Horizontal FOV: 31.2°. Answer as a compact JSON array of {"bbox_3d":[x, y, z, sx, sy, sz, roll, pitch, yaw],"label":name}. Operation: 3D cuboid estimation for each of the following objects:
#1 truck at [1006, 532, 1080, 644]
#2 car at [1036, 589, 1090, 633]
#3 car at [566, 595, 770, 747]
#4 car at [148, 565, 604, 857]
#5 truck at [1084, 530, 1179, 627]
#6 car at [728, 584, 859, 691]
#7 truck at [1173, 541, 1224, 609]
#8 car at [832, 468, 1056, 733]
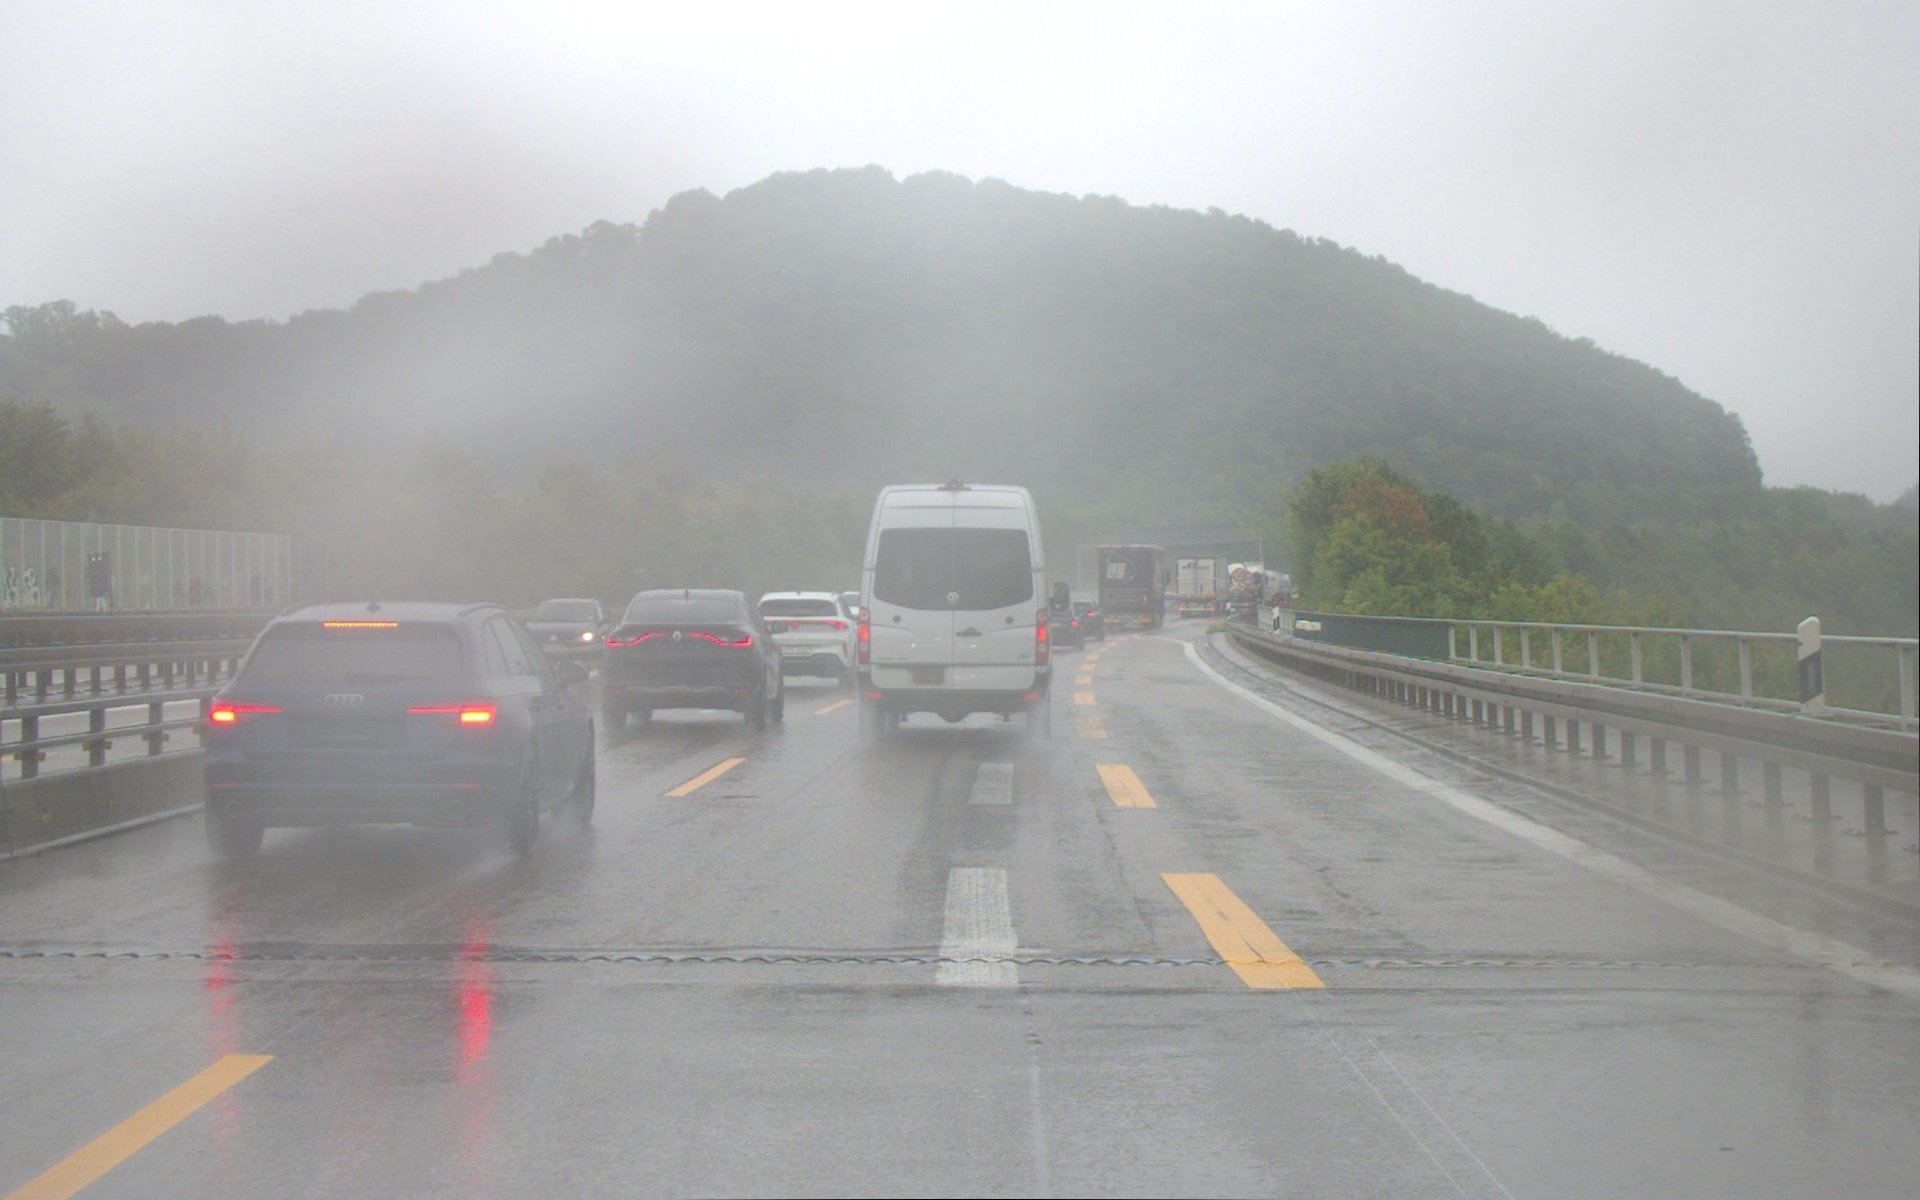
[{"bbox_3d":[2.463,-0.312,100.439,1.993,3.098,8.498,1,0,2],"label":"truck"},{"bbox_3d":[3.595,0.384,119.333,1.774,1.470,4.000,1,0,2],"label":"car"},{"bbox_3d":[-3.252,0.771,39.066,1.993,1.579,4.413,1,0,-1],"label":"car"},{"bbox_3d":[-3.308,0.592,20.391,1.993,1.492,4.631,1,0,-1],"label":"car"},{"bbox_3d":[8.222,-0.946,163.351,3.582,4.391,9.620,1,0,8],"label":"truck"},{"bbox_3d":[-2.721,0.596,55.774,1.993,1.612,4.797,1,0,-3],"label":"car"},{"bbox_3d":[16.203,-1.637,233.301,3.037,4.391,9.621,1,0,6],"label":"truck"},{"bbox_3d":[-0.088,0.015,36.550,2.145,2.562,5.389,1,0,2],"label":"car"}]
